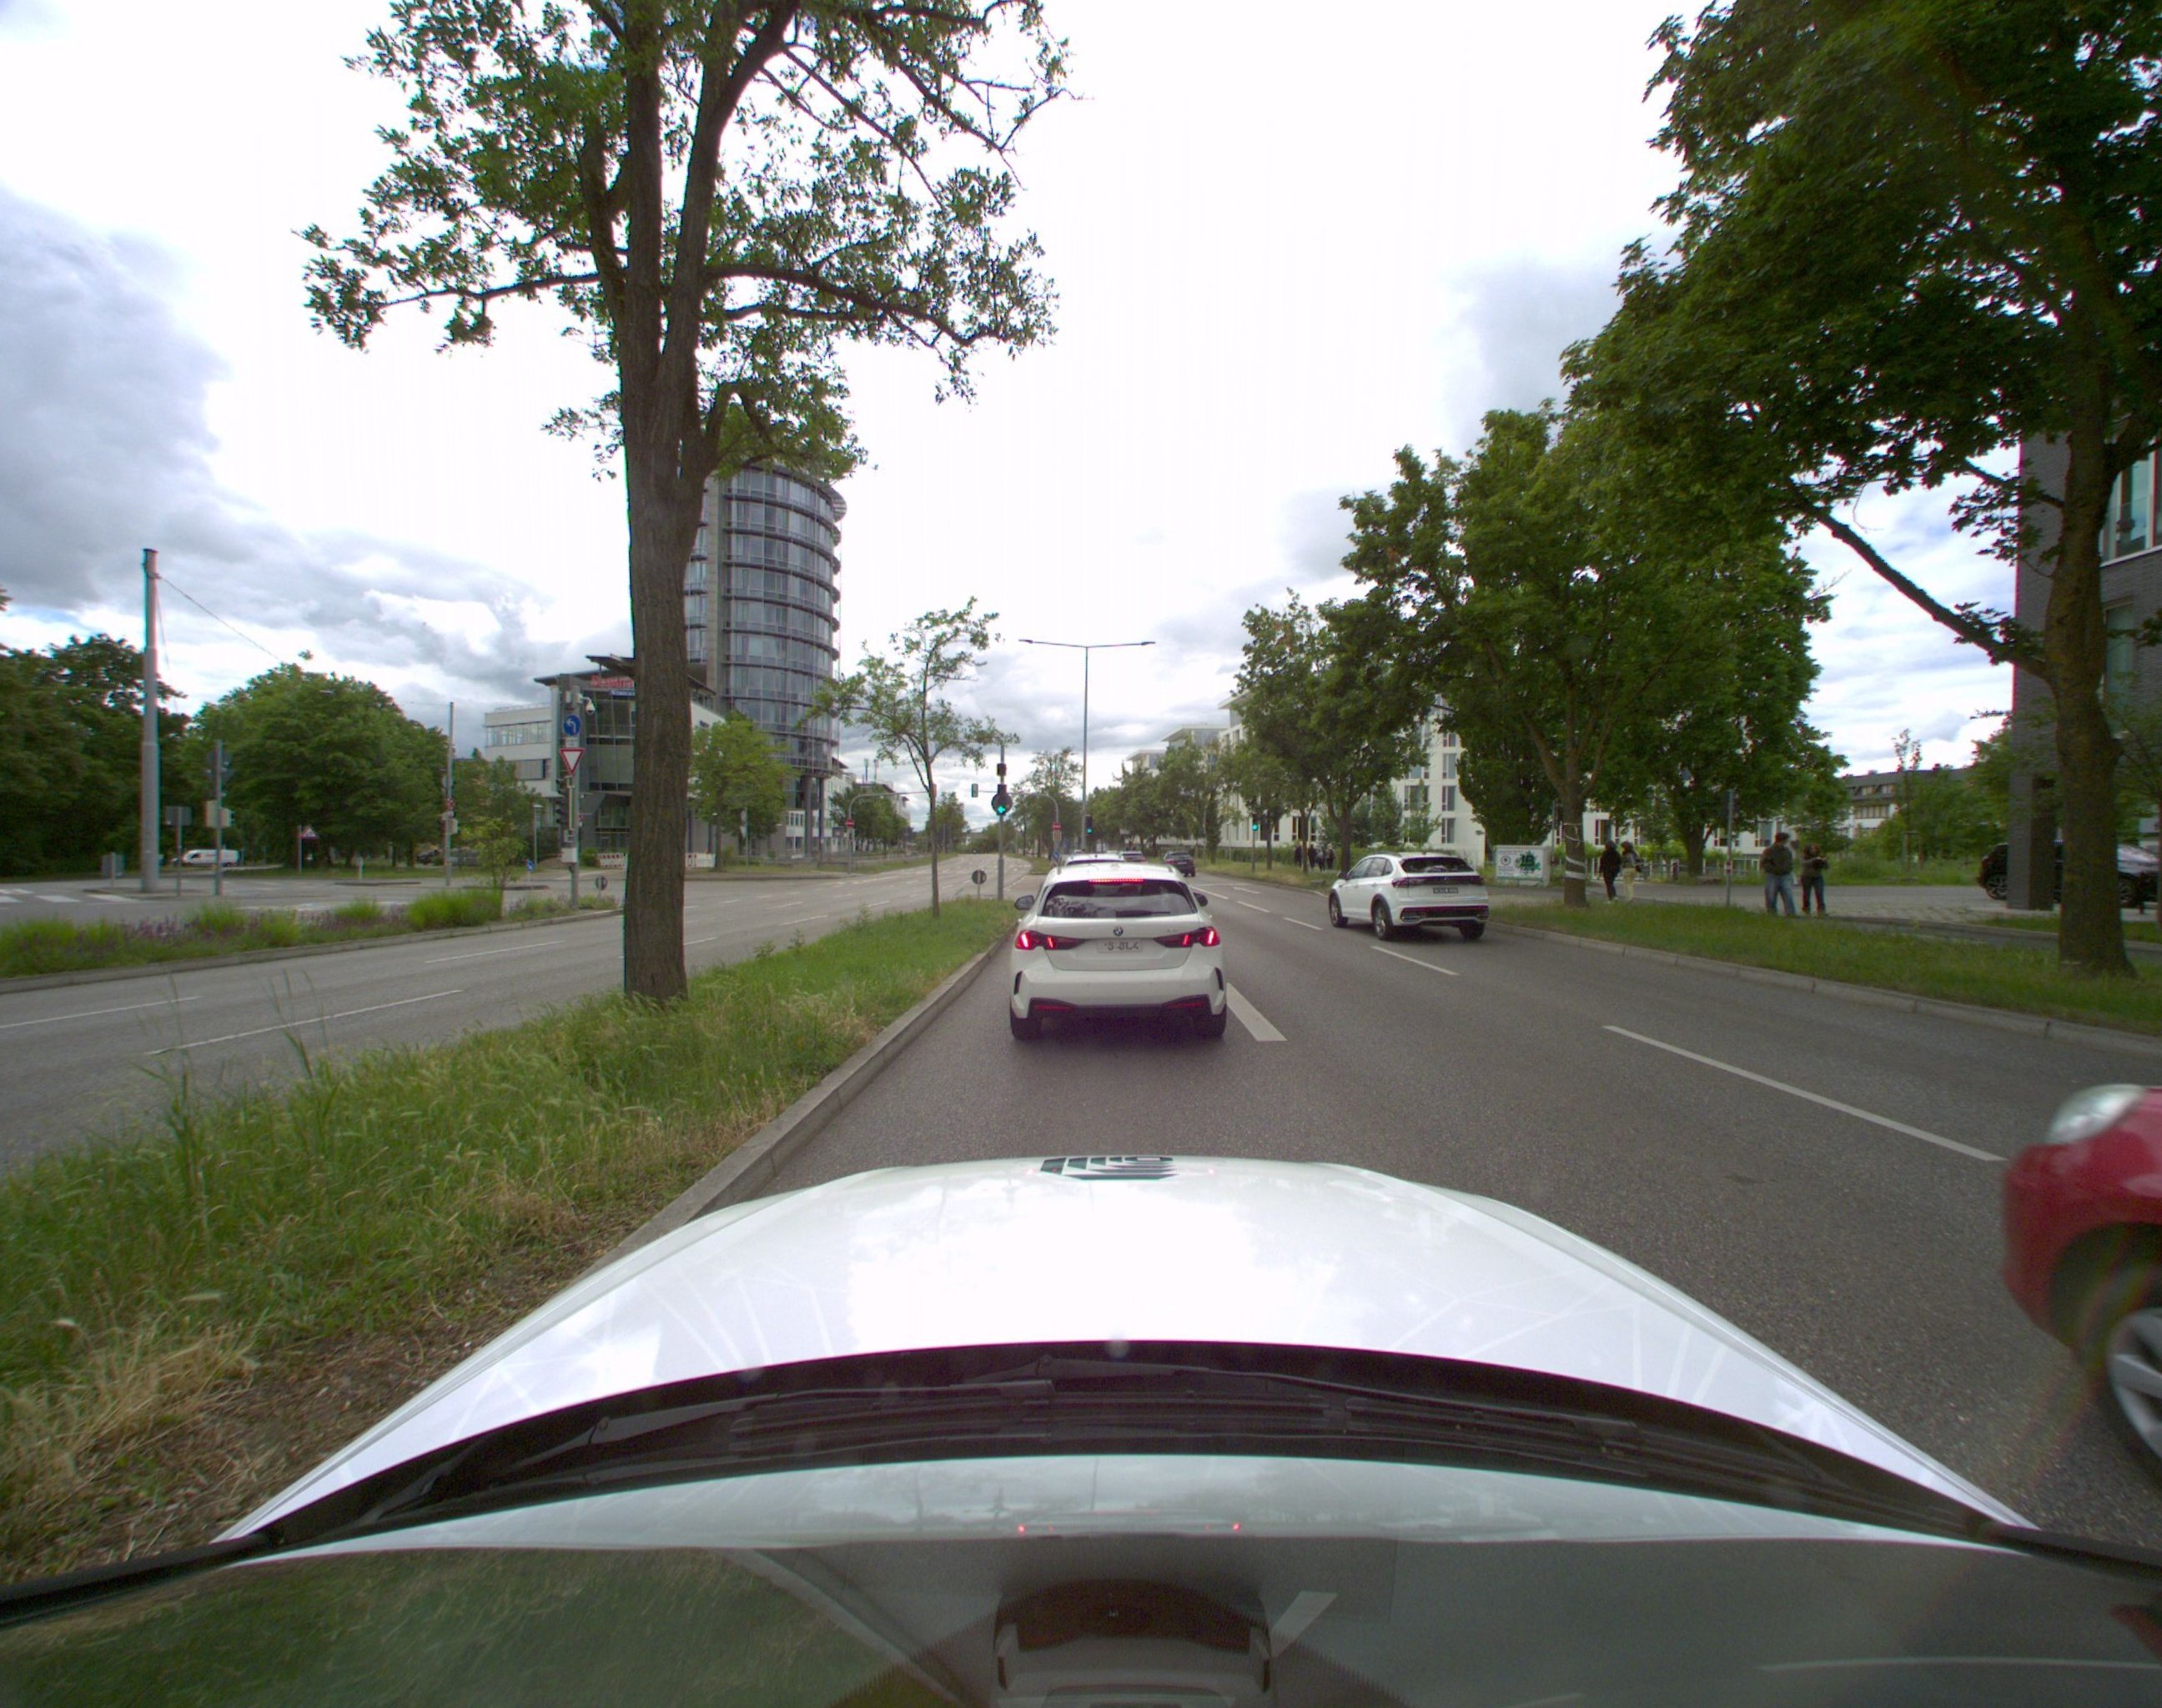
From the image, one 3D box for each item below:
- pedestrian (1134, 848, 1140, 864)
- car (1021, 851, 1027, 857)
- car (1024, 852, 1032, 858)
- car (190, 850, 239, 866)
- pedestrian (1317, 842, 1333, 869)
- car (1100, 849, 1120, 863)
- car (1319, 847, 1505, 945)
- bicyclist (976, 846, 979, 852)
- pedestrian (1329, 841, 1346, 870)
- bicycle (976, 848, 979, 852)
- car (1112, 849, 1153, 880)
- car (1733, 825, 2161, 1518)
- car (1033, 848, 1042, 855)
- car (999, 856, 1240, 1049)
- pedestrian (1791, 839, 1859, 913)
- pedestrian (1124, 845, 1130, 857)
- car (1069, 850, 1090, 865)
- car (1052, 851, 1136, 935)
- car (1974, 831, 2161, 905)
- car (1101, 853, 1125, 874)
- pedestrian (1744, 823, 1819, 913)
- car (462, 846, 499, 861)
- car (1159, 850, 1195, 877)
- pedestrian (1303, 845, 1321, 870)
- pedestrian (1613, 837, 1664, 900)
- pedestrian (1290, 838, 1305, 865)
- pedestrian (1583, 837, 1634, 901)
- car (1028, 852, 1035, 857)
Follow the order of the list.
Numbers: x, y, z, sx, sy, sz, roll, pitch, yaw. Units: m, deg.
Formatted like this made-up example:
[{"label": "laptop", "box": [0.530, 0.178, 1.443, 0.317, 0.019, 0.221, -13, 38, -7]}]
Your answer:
[{"label": "pedestrian", "box": [9.075, 0.322, 132.274, 0.828, 2.627, 0.646, 0, 0, 1]}, {"label": "car", "box": [-16.035, 0.022, 229.575, 1.692, 1.717, 3.993, 0, -1, -4]}, {"label": "car", "box": [-16.380, 0.274, 251.685, 1.992, 1.732, 3.990, 0, -1, -7]}, {"label": "car", "box": [-128.716, 0.654, 121.085, 1.978, 2.339, 4.570, -1, -1, 16]}, {"label": "pedestrian", "box": [14.505, 0.113, 48.476, 0.697, 1.595, 0.883, 0, -1, 1]}, {"label": "car", "box": [3.068, 0.225, 87.530, 1.651, 1.425, 3.527, -1, 0, -6]}, {"label": "car", "box": [5.914, 0.671, 15.107, 1.711, 1.555, 4.087, -1, 0, -1]}, {"label": "bicyclist", "box": [-26.689, -1.348, 210.085, 0.809, 1.653, 1.186, 0, -1, -6]}, {"label": "pedestrian", "box": [15.276, 0.107, 48.482, 0.764, 1.685, 0.883, 0, -1, 1]}, {"label": "bicycle", "box": [-26.684, -0.992, 210.012, 0.809, 1.104, 2.551, 0, -1, -5]}, {"label": "car", "box": [2.835, 0.550, 45.440, 1.850, 1.596, 4.310, -1, 0, -2]}, {"label": "car", "box": [3.250, 0.697, 1.090, 1.710, 1.558, 3.859, -1, 0, 1]}, {"label": "car", "box": [-10.937, -0.676, 204.483, 1.990, 1.670, 3.993, -2, 0, -5]}, {"label": "car", "box": [0.356, 0.745, 8.138, 1.815, 1.438, 4.002, 0, 0, 2]}, {"label": "pedestrian", "box": [16.128, 0.469, 17.679, 0.825, 1.557, 0.880, 0, 0, 22]}, {"label": "pedestrian", "box": [7.949, -0.537, 140.372, 0.763, 2.014, 0.751, 0, -1, -13]}, {"label": "car", "box": [-0.227, 0.385, 89.661, 1.889, 1.596, 4.304, 0, 0, -6]}, {"label": "car", "box": [0.305, 0.722, 17.104, 1.544, 1.569, 4.002, 0, 0, 2]}, {"label": "car", "box": [24.912, 0.306, 19.885, 1.749, 1.646, 4.151, 0, 0, 2]}, {"label": "car", "box": [2.366, 0.691, 60.880, 1.601, 1.468, 3.673, 0, 0, -2]}, {"label": "pedestrian", "box": [15.140, 0.290, 17.639, 0.951, 1.868, 0.984, 0, 0, 21]}, {"label": "car", "box": [-37.308, -0.033, 50.611, 0.766, 0.876, 1.730, 0, 0, 39]}, {"label": "car", "box": [5.699, 0.557, 48.822, 1.652, 1.512, 3.999, 0, -1, 0]}, {"label": "pedestrian", "box": [13.732, 0.192, 48.435, 0.786, 1.448, 1.112, 0, -1, 1]}, {"label": "pedestrian", "box": [14.914, 0.372, 21.807, 0.774, 1.660, 0.954, 0, 0, 7]}, {"label": "pedestrian", "box": [12.720, -0.165, 47.874, 0.739, 1.574, 0.674, 0, -1, 1]}, {"label": "pedestrian", "box": [14.152, 0.395, 21.872, 0.791, 1.660, 1.061, 0, 0, 7]}, {"label": "car", "box": [-13.904, 0.176, 228.818, 1.690, 1.486, 3.685, 0, 0, -6]}]
